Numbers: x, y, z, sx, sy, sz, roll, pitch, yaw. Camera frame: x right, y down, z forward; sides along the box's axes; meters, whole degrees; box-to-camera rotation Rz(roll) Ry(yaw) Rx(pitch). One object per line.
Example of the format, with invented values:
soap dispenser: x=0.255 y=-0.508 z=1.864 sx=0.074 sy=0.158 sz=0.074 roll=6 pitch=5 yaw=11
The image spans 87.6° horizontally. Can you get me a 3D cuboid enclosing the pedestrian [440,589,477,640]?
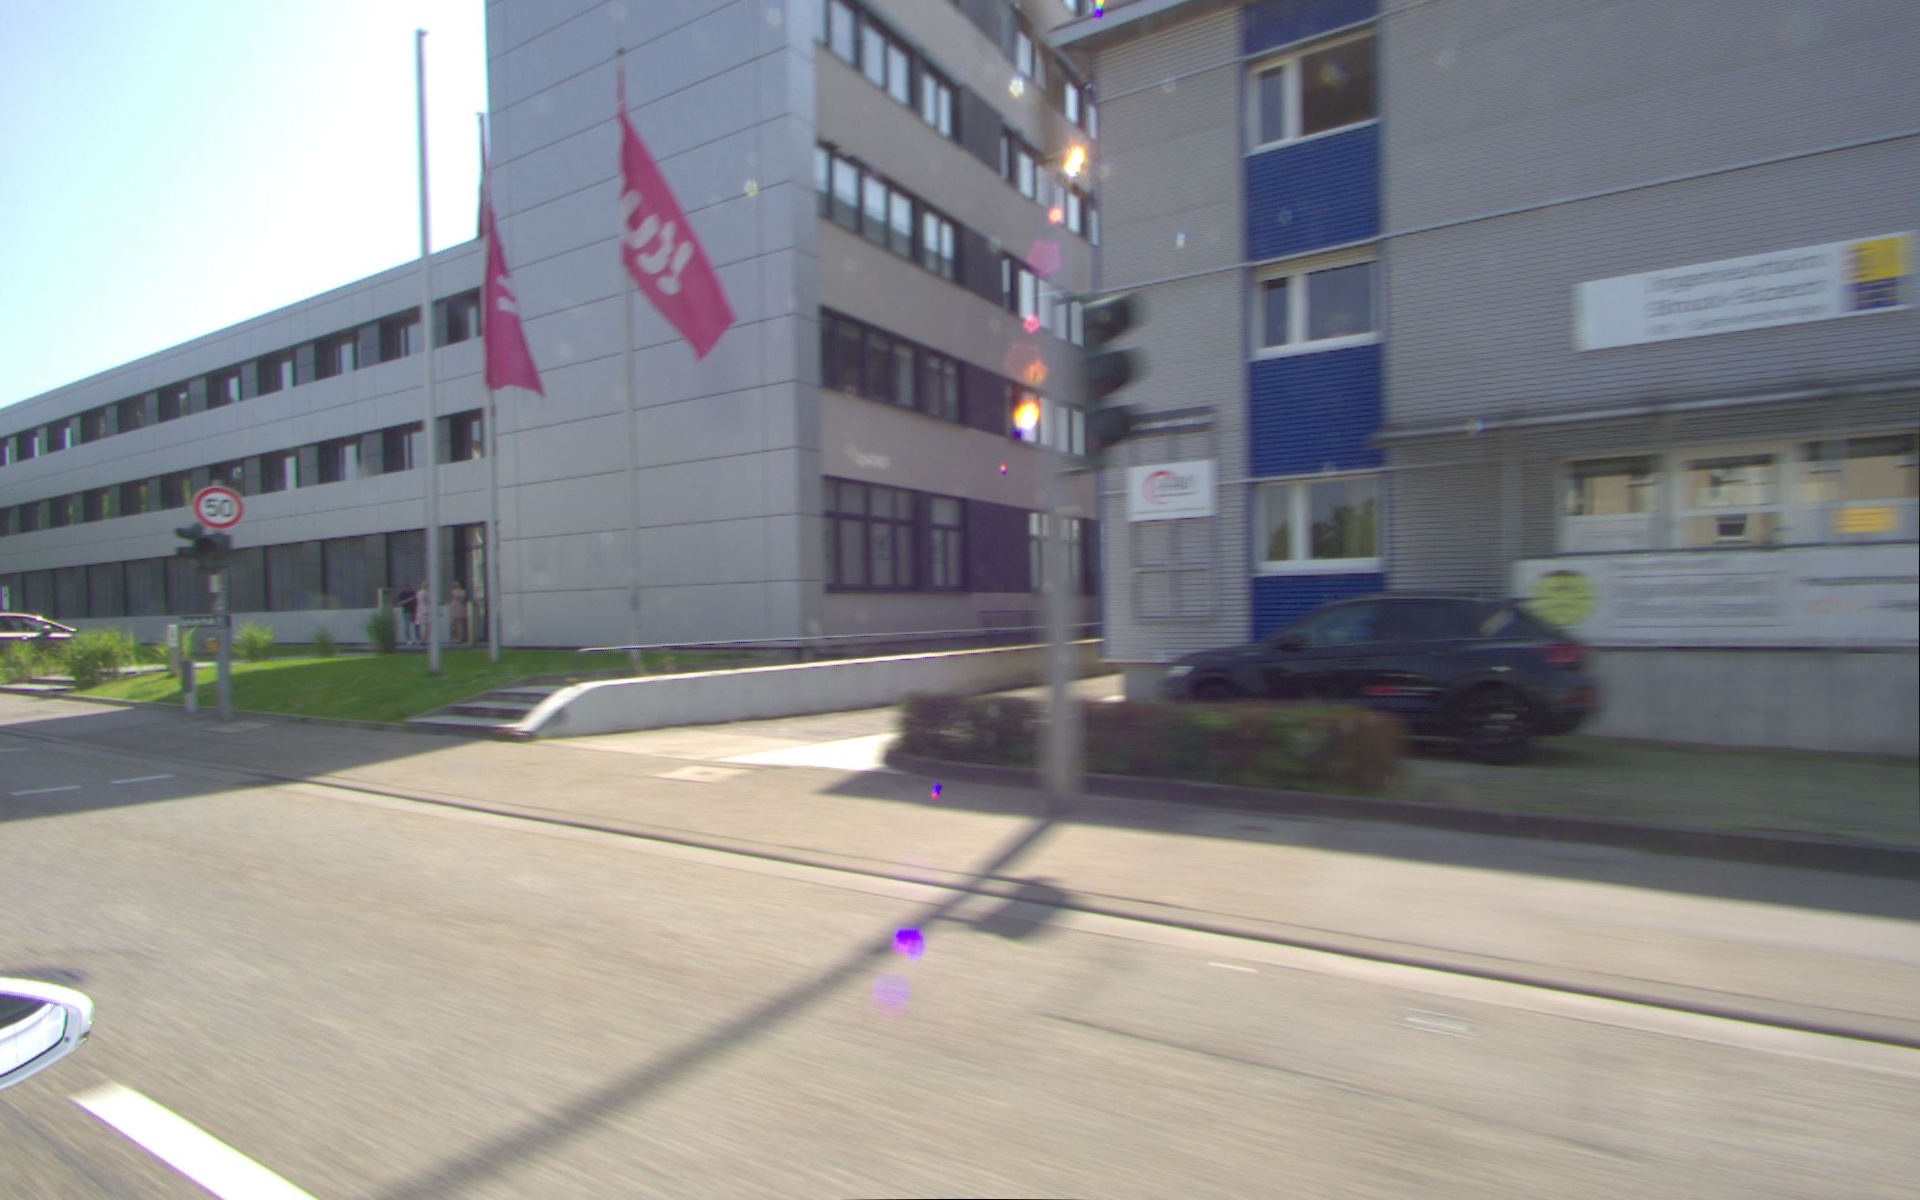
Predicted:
pedestrian: x=-14.069 y=0.405 z=28.087 sx=0.786 sy=1.424 sz=0.522 roll=-1 pitch=1 yaw=22

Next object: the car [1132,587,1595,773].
car: x=4.050 y=0.724 z=10.271 sx=4.137 sy=1.551 sz=1.841 roll=-1 pitch=-2 yaw=33

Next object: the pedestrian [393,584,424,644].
pedestrian: x=-15.333 y=0.391 z=27.839 sx=0.517 sy=1.656 sz=0.590 roll=0 pitch=1 yaw=40

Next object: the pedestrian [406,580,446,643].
pedestrian: x=-14.352 y=0.304 z=26.925 sx=0.743 sy=1.685 sz=0.522 roll=-1 pitch=1 yaw=15

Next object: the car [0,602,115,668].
car: x=-26.016 y=0.945 z=27.175 sx=1.969 sy=1.712 sz=4.255 roll=-1 pitch=0 yaw=28
